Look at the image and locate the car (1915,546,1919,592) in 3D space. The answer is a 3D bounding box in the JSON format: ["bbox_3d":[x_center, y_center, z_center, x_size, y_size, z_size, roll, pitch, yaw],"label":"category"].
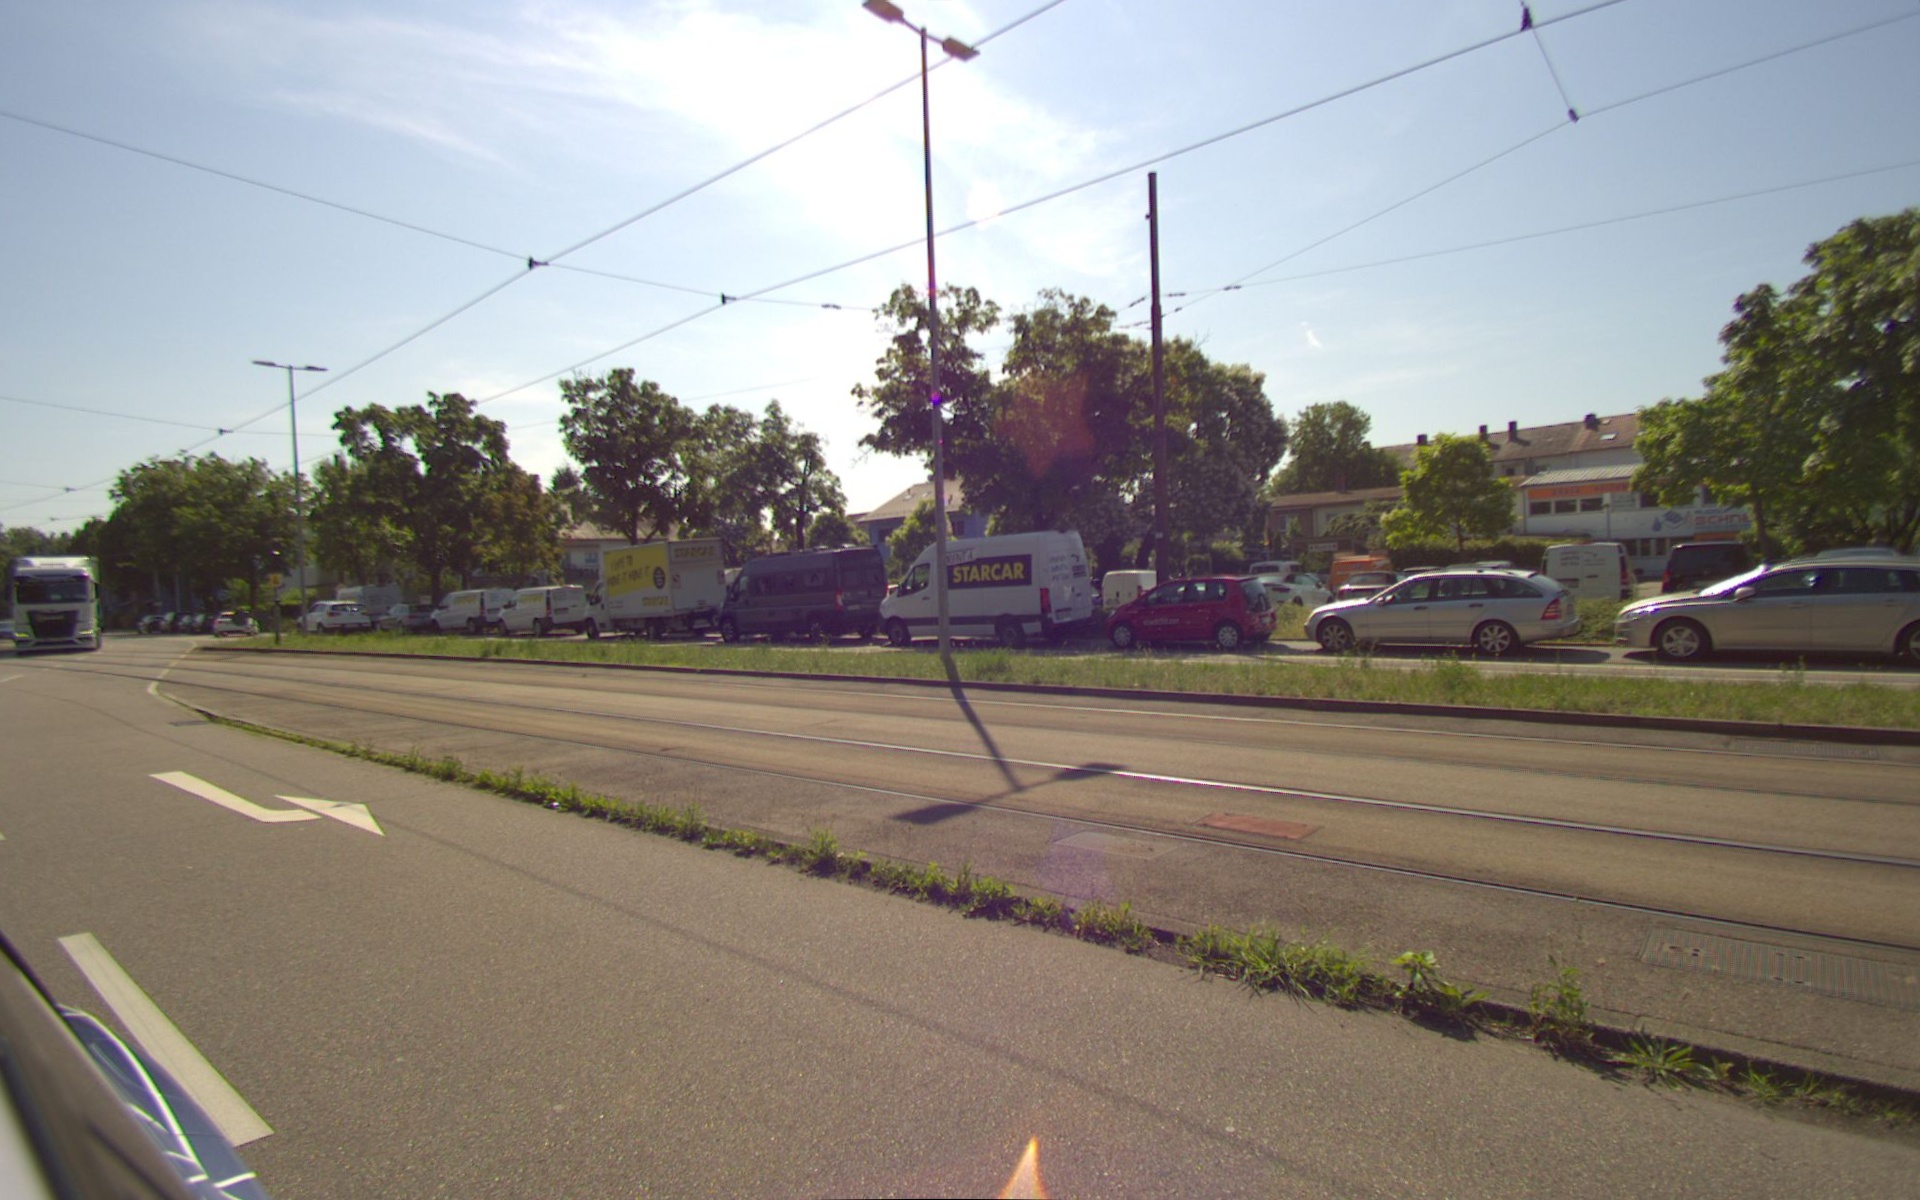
[{"bbox_3d":[29.484,-0.943,29.701,1.674,1.435,3.935,-2,0,38],"label":"car"}]

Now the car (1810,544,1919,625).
[{"bbox_3d":[19.583,-0.342,21.904,1.661,1.574,3.948,-2,0,39],"label":"car"}]

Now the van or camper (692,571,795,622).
[{"bbox_3d":[-15.002,-0.308,70.525,2.579,3.269,6.883,-2,1,39],"label":"van or camper"}]

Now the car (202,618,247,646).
[{"bbox_3d":[-42.119,1.805,57.909,1.769,1.433,4.343,-3,0,-40],"label":"car"}]

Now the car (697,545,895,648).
[{"bbox_3d":[-4.922,-0.042,29.724,6.075,2.688,2.174,-2,2,40],"label":"car"}]

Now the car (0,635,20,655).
[{"bbox_3d":[-66.445,3.136,70.000,3.999,1.264,1.678,-2,1,42],"label":"car"}]

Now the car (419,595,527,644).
[{"bbox_3d":[-21.911,0.876,45.438,5.176,1.955,2.176,-2,2,37],"label":"car"}]

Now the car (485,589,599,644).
[{"bbox_3d":[-16.958,0.668,40.931,5.184,1.955,2.173,-2,2,42],"label":"car"}]

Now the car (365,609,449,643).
[{"bbox_3d":[-26.882,1.256,49.138,4.883,1.465,1.912,-2,2,41],"label":"car"}]

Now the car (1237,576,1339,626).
[{"bbox_3d":[9.975,0.005,30.629,1.658,1.381,3.949,-2,0,38],"label":"car"}]

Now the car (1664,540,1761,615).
[{"bbox_3d":[17.694,-0.526,23.725,1.661,1.574,3.948,-2,0,39],"label":"car"}]

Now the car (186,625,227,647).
[{"bbox_3d":[-54.155,2.613,72.747,4.082,1.461,1.598,-2,0,42],"label":"car"}]

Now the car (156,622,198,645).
[{"bbox_3d":[-61.383,2.610,79.266,4.238,1.625,1.658,-1,1,39],"label":"car"}]

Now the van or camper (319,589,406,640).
[{"bbox_3d":[-31.798,0.793,53.797,6.146,2.533,2.233,-2,0,43],"label":"van or camper"}]

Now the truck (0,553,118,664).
[{"bbox_3d":[-40.320,0.374,44.749,3.345,4.099,14.295,-6,3,-44],"label":"truck"}]

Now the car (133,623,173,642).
[{"bbox_3d":[-67.104,2.704,84.126,4.453,1.446,1.658,-2,0,39],"label":"car"}]

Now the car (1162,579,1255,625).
[{"bbox_3d":[8.201,0.040,33.208,1.486,1.381,3.950,-2,0,37],"label":"car"}]

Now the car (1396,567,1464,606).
[{"bbox_3d":[18.627,-0.563,40.043,1.530,1.435,3.808,-2,0,39],"label":"car"}]

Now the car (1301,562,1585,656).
[{"bbox_3d":[8.473,0.171,18.032,4.348,1.501,1.278,-2,1,41],"label":"car"}]

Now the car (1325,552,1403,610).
[{"bbox_3d":[16.659,-0.805,41.632,1.908,2.216,3.950,-2,0,37],"label":"car"}]

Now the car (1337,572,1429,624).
[{"bbox_3d":[12.291,-0.085,29.297,1.486,1.381,3.950,-2,0,37],"label":"car"}]

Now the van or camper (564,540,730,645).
[{"bbox_3d":[-10.977,-0.188,35.092,6.770,3.265,2.173,-2,2,42],"label":"van or camper"}]

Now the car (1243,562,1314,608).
[{"bbox_3d":[15.002,-0.717,47.555,1.908,2.018,3.950,-2,0,37],"label":"car"}]

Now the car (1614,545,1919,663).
[{"bbox_3d":[12.326,0.050,14.605,4.617,1.501,1.587,-2,2,43],"label":"car"}]

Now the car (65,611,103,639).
[{"bbox_3d":[-90.470,2.590,104.486,6.083,2.670,1.991,-2,4,41],"label":"car"}]

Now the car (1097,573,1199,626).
[{"bbox_3d":[6.517,-0.045,34.836,1.662,1.707,3.946,-2,0,40],"label":"car"}]

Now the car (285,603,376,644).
[{"bbox_3d":[-26.820,1.010,43.063,4.657,1.609,2.022,-2,-1,41],"label":"car"}]

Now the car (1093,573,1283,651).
[{"bbox_3d":[4.725,0.264,21.209,3.673,1.501,1.279,-2,1,39],"label":"car"}]

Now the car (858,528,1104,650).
[{"bbox_3d":[0.392,-0.206,25.046,5.976,2.650,2.173,-2,2,41],"label":"car"}]

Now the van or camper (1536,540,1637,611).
[{"bbox_3d":[15.724,-0.602,25.316,1.872,1.574,3.952,-2,0,35],"label":"van or camper"}]
